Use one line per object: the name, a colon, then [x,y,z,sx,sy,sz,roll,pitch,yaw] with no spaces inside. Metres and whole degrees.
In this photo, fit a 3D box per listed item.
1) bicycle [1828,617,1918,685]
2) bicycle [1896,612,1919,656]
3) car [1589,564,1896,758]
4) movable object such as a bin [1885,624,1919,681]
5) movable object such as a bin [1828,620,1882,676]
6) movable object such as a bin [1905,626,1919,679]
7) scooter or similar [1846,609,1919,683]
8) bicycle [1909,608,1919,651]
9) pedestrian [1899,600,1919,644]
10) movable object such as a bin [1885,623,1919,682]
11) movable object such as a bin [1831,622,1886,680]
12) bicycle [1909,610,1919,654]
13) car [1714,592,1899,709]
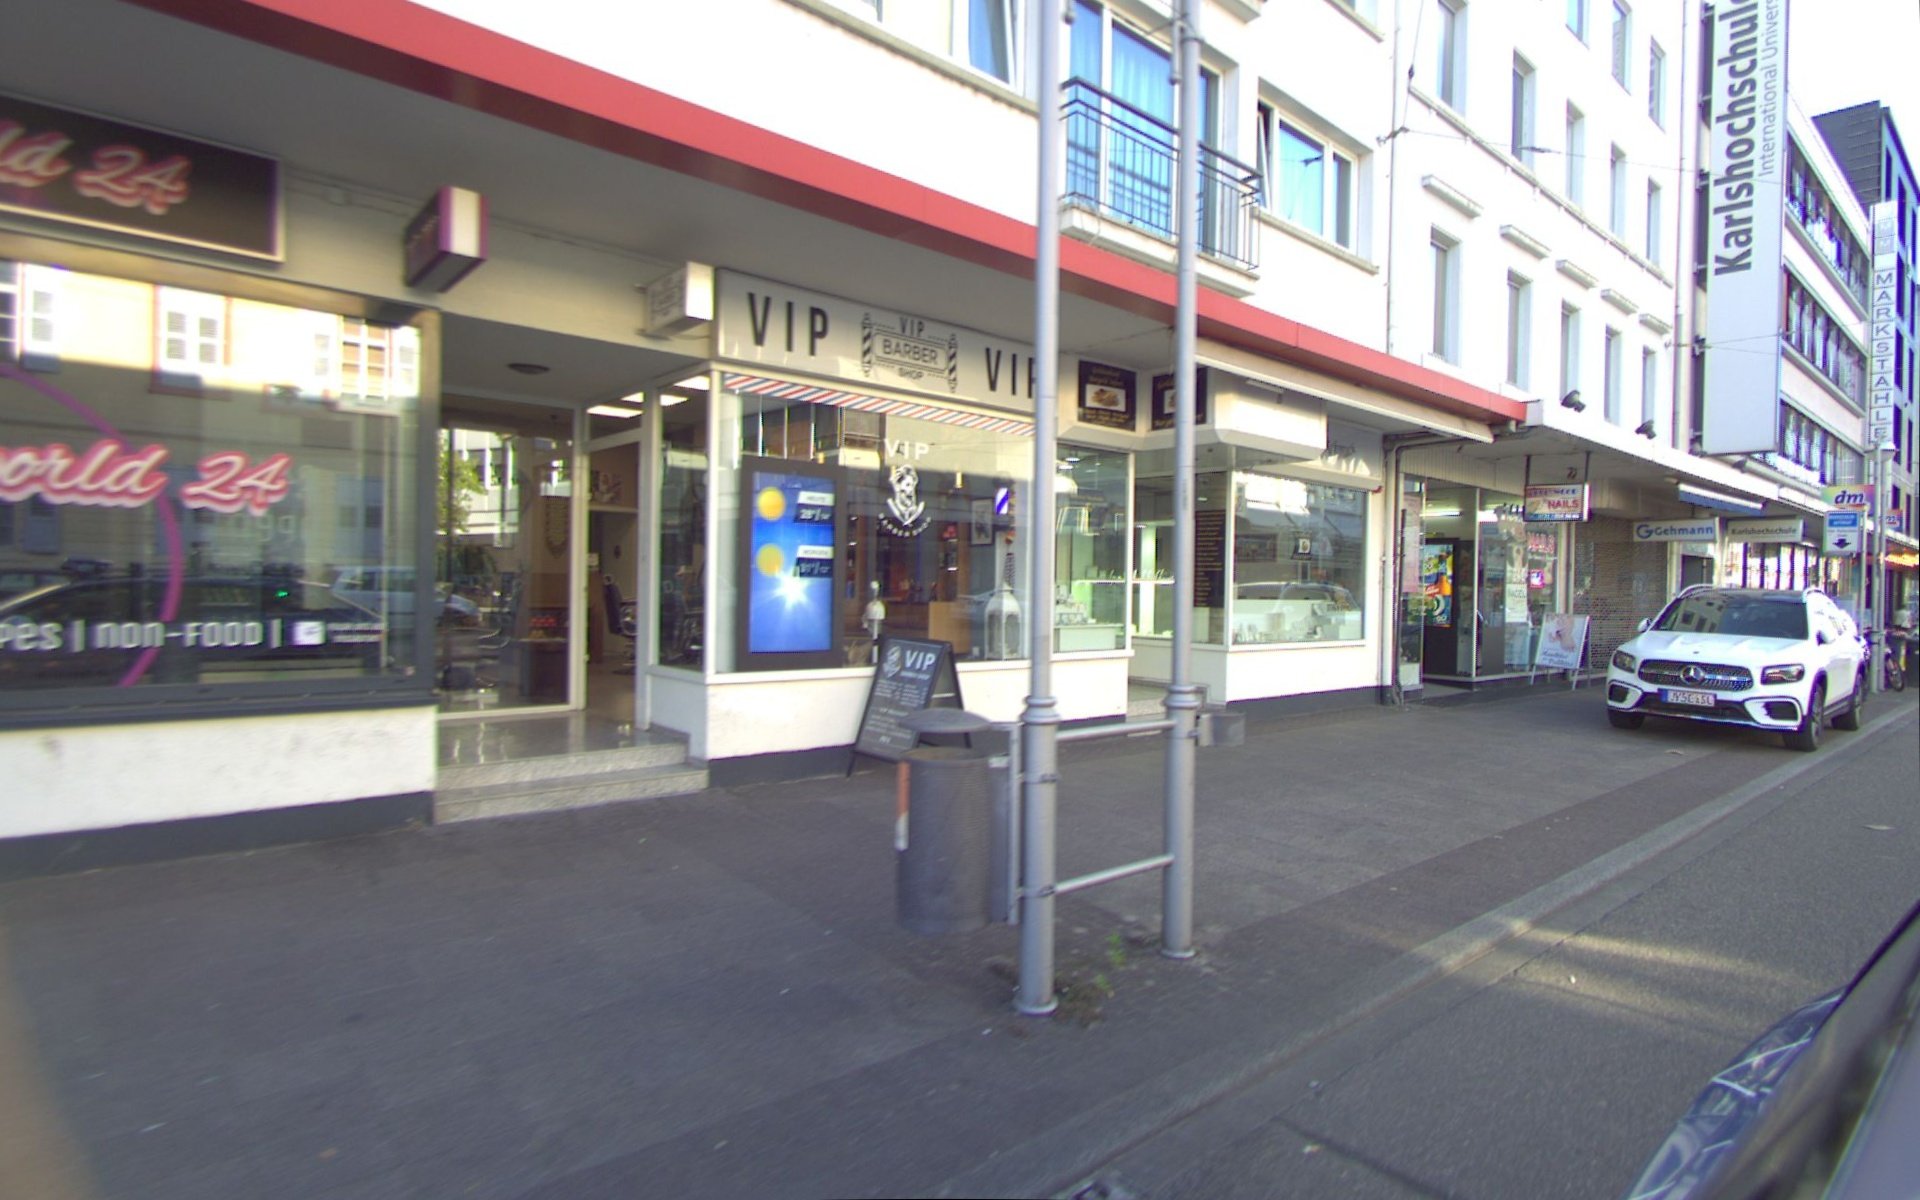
bicycle: [16.396,0.899,18.183,0.314,1.093,1.133,0,3,-42]
bicycle: [26.653,0.944,27.447,0.657,1.174,1.790,1,1,-41]
car: [9.218,0.530,11.730,5.103,1.745,1.853,0,3,-42]
movable object such as a bin: [17.879,0.990,18.978,0.499,1.027,0.688,0,1,-38]
movable object such as a bin: [17.367,0.918,19.634,0.625,1.027,0.660,0,1,-38]
movable object such as a bin: [18.363,1.004,19.235,0.449,0.970,0.489,0,2,-38]
scooter or similar: [16.743,0.821,18.303,0.314,1.247,0.994,0,2,-42]
bicycle: [28.323,0.880,28.857,0.577,1.232,1.790,1,1,-41]
pedestrian: [36.095,0.833,38.374,0.588,1.605,0.582,0,3,-43]
movable object such as a bin: [17.347,0.946,18.512,0.659,1.027,0.523,0,1,-38]
movable object such as a bin: [16.890,0.946,19.033,0.625,1.027,0.660,0,1,-38]
bicycle: [27.551,0.931,28.027,0.657,1.232,1.790,1,1,-41]
car: [13.191,0.674,15.691,4.000,1.547,1.617,0,2,-42]
